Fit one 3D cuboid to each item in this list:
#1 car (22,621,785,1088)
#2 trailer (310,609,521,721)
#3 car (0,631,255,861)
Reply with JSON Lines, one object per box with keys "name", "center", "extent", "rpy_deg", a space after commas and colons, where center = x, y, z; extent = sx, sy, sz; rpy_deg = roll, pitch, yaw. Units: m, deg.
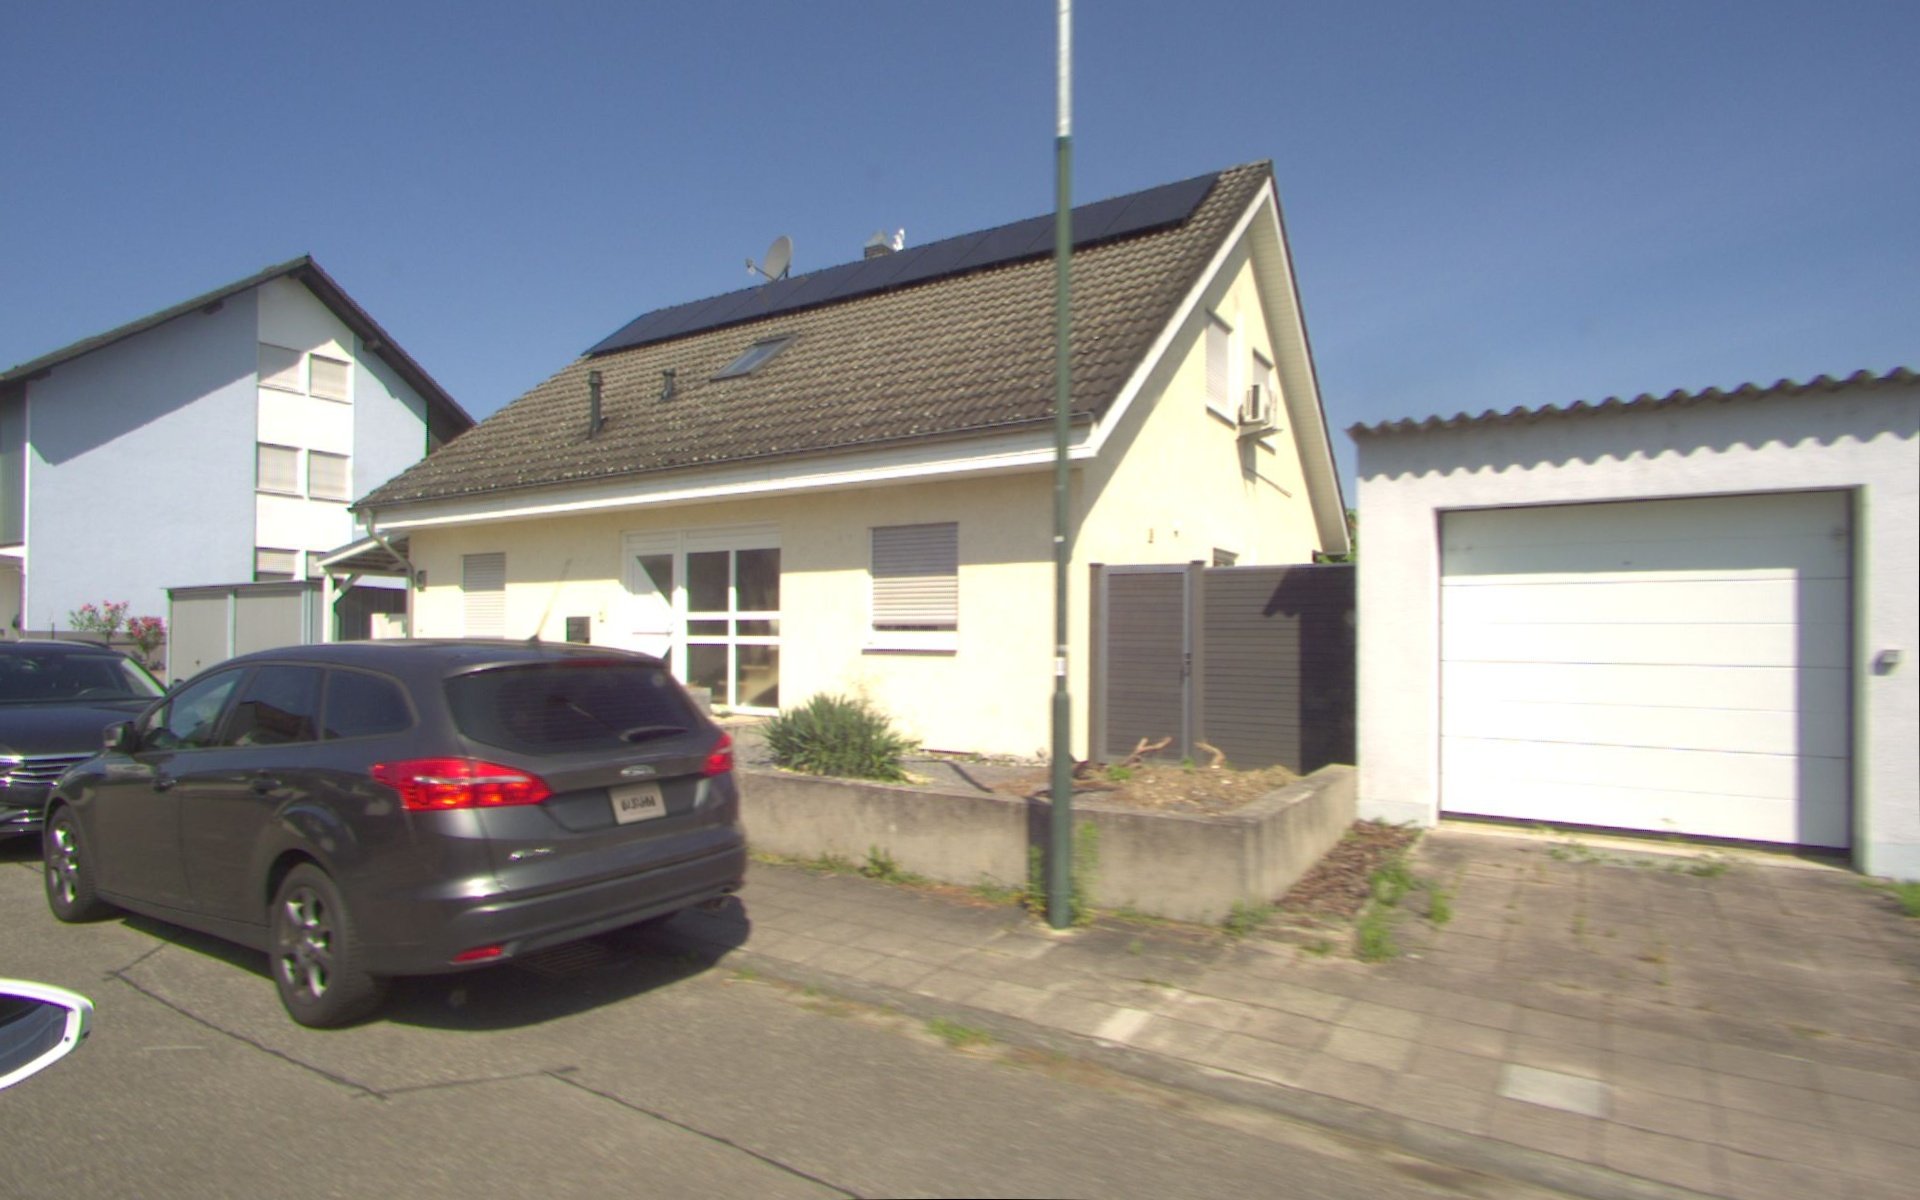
{"name": "car", "center": [-2.942, 0.910, 5.071], "extent": [3.942, 1.497, 1.640], "rpy_deg": [0, -3, 32]}
{"name": "trailer", "center": [-9.101, 1.043, 16.895], "extent": [1.383, 1.711, 2.829], "rpy_deg": [0, -2, 33]}
{"name": "car", "center": [-7.631, 1.000, 8.072], "extent": [4.442, 1.456, 1.714], "rpy_deg": [-1, -4, 35]}
